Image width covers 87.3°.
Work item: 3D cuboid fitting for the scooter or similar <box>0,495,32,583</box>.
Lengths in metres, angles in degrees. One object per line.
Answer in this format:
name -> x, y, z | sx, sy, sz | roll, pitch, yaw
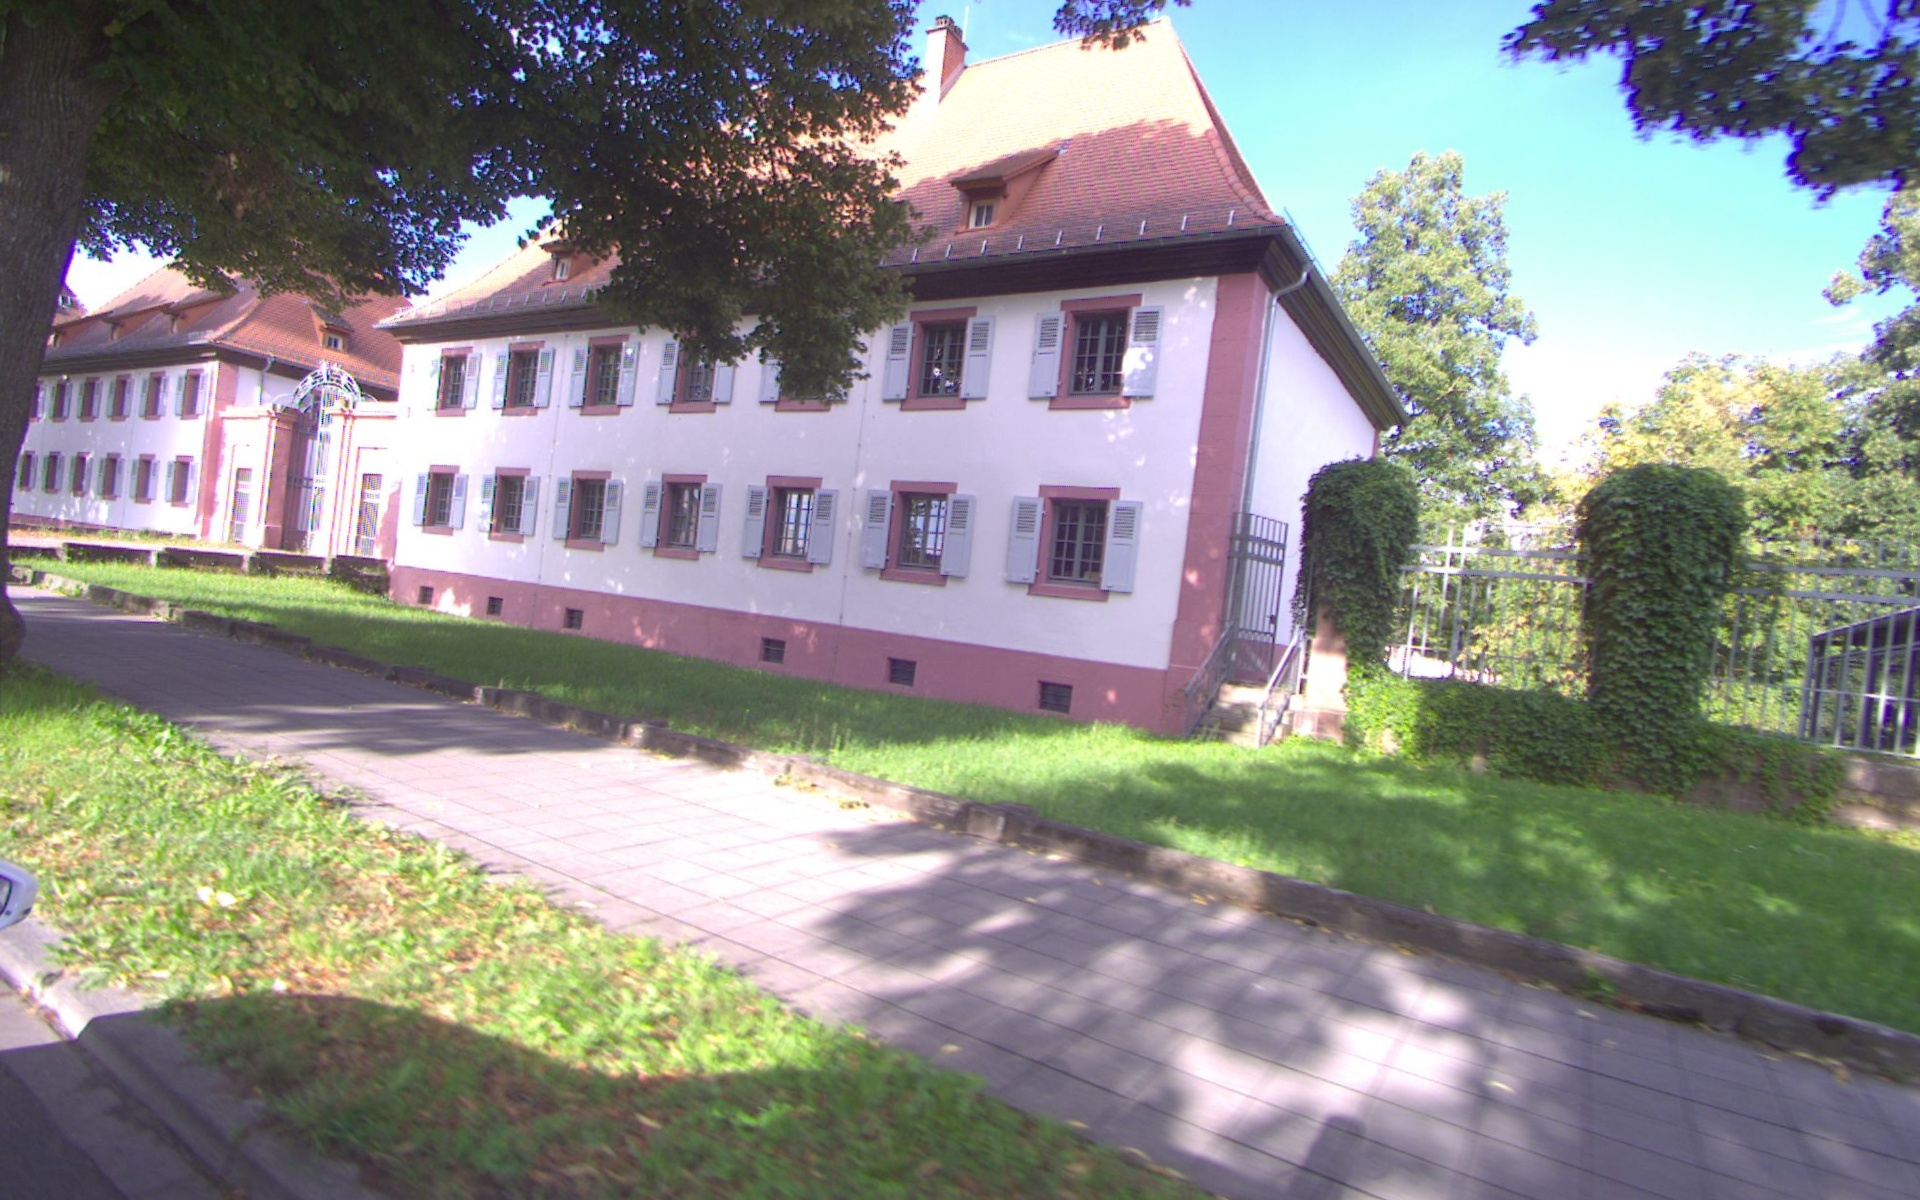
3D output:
scooter or similar -> -15.184, -0.991, 15.775 | 1.359, 1.308, 0.579 | 7, 2, 34
